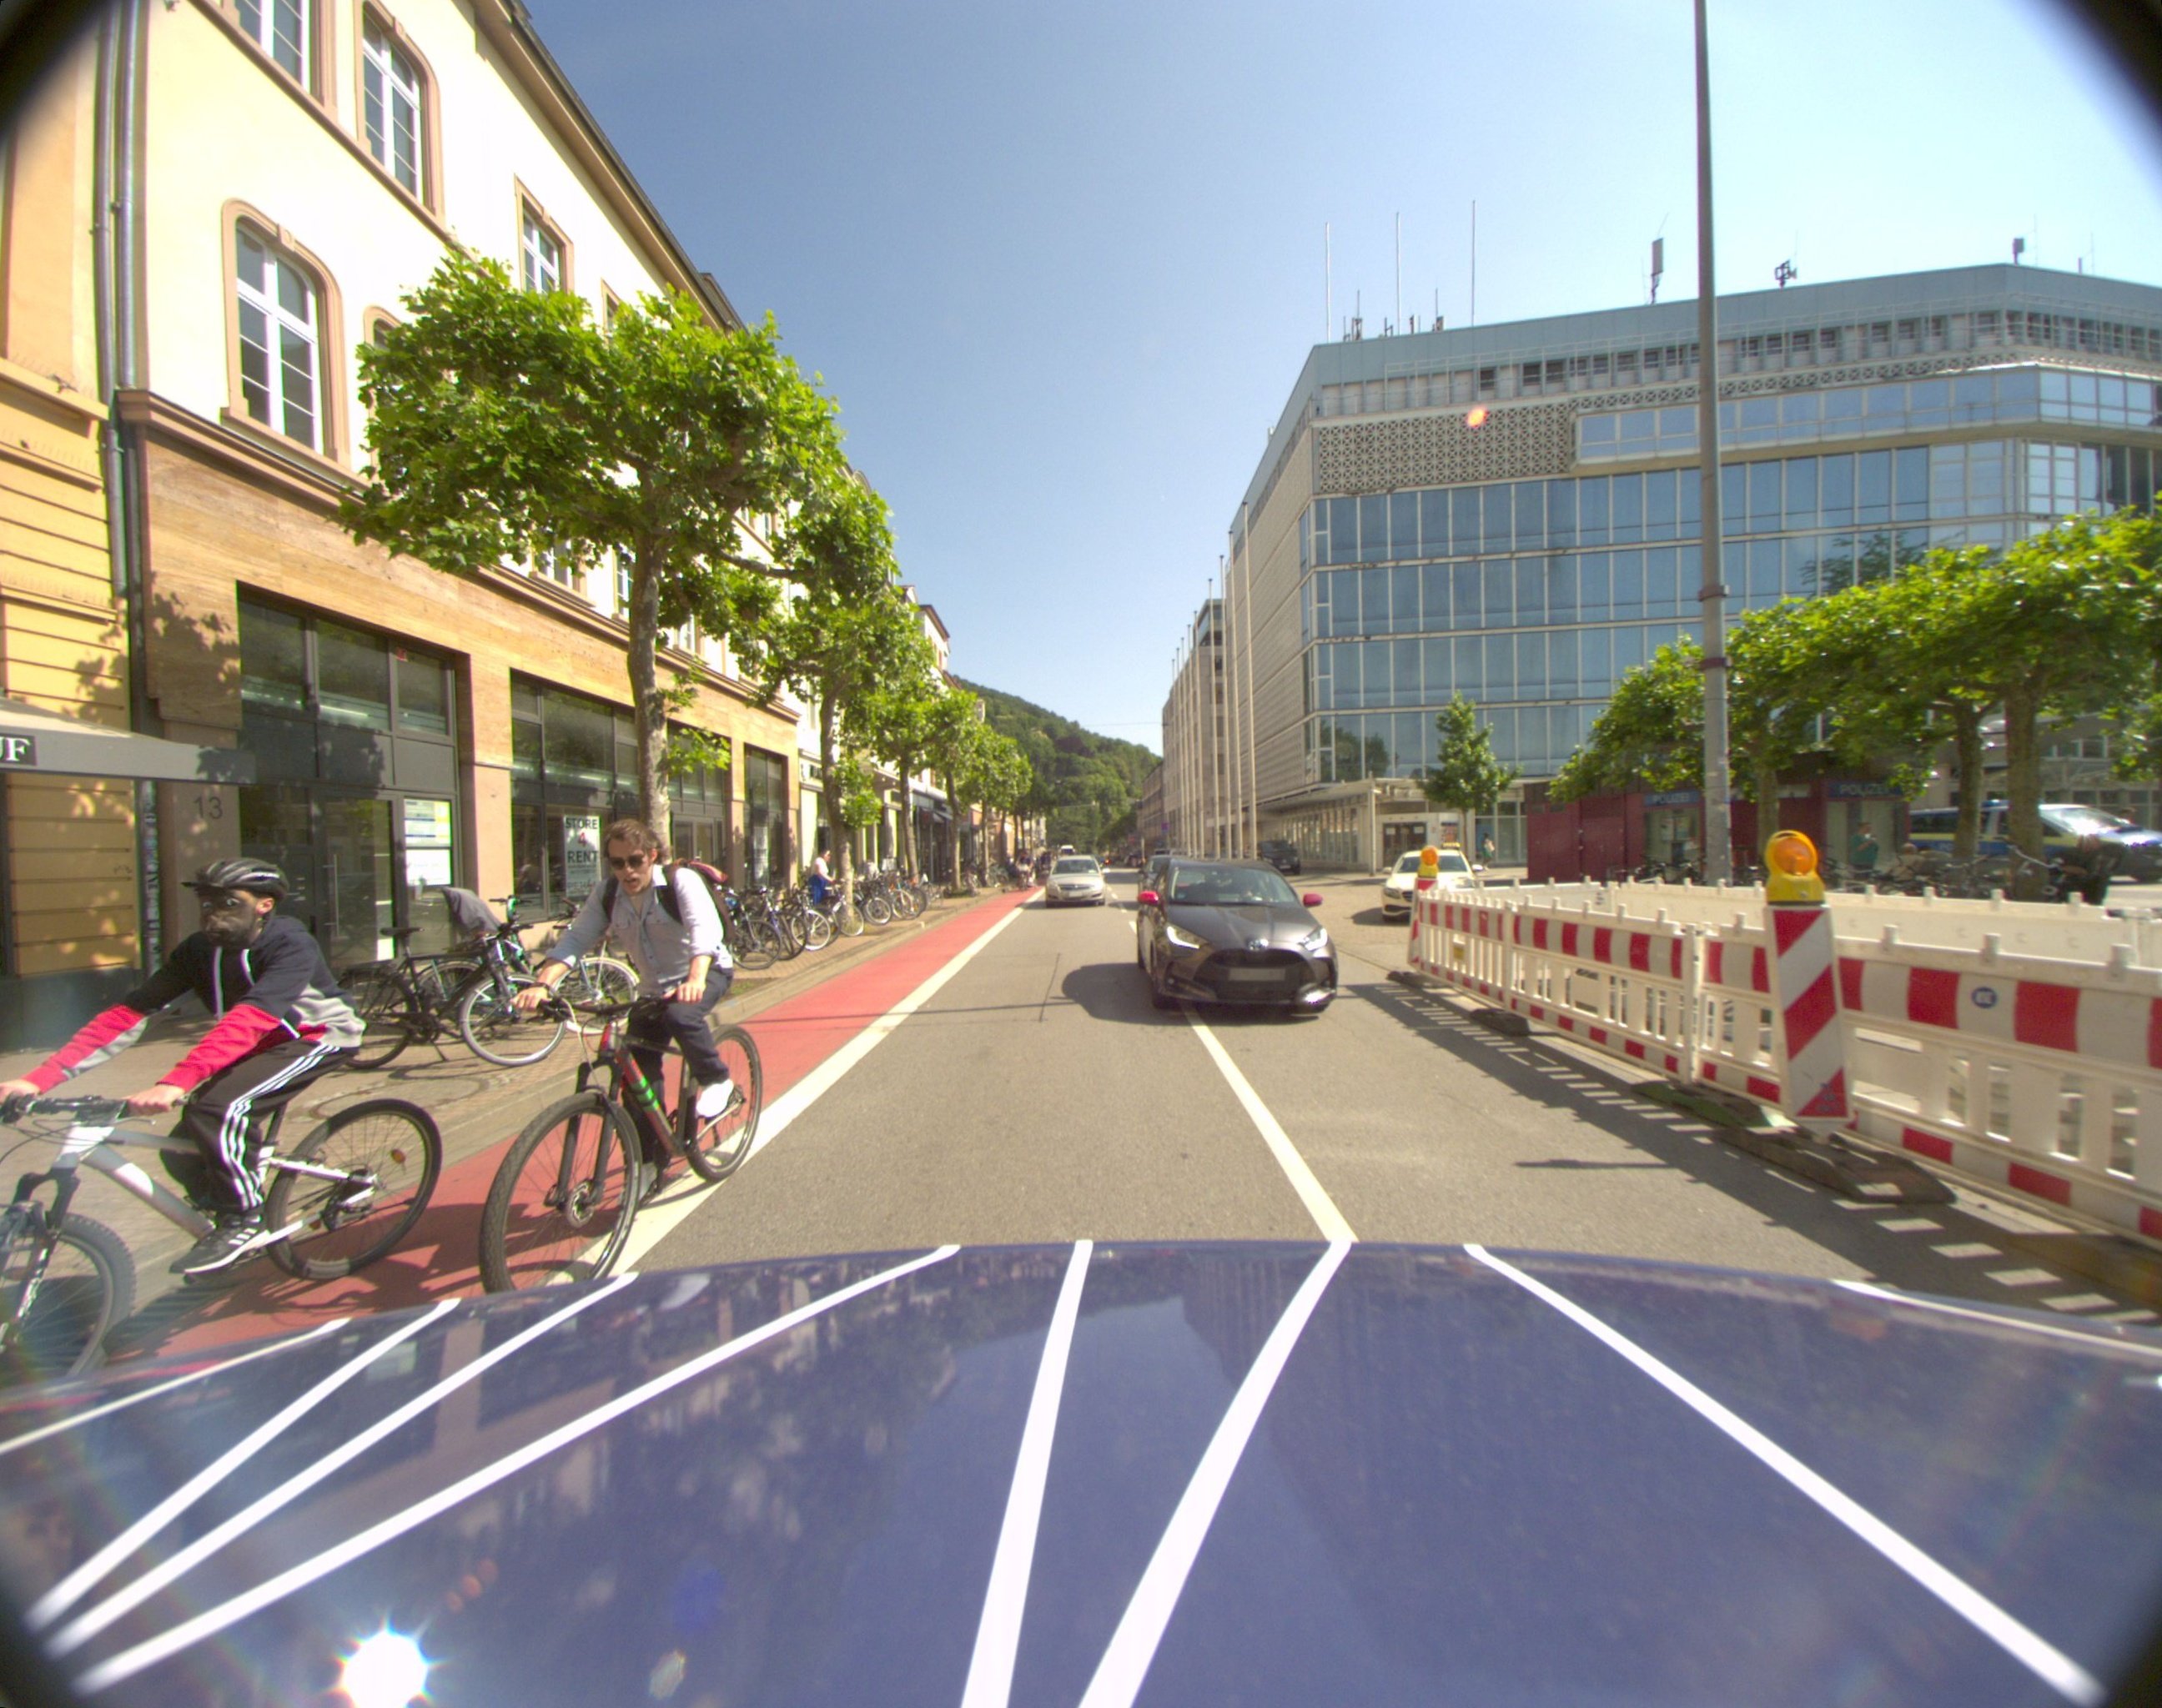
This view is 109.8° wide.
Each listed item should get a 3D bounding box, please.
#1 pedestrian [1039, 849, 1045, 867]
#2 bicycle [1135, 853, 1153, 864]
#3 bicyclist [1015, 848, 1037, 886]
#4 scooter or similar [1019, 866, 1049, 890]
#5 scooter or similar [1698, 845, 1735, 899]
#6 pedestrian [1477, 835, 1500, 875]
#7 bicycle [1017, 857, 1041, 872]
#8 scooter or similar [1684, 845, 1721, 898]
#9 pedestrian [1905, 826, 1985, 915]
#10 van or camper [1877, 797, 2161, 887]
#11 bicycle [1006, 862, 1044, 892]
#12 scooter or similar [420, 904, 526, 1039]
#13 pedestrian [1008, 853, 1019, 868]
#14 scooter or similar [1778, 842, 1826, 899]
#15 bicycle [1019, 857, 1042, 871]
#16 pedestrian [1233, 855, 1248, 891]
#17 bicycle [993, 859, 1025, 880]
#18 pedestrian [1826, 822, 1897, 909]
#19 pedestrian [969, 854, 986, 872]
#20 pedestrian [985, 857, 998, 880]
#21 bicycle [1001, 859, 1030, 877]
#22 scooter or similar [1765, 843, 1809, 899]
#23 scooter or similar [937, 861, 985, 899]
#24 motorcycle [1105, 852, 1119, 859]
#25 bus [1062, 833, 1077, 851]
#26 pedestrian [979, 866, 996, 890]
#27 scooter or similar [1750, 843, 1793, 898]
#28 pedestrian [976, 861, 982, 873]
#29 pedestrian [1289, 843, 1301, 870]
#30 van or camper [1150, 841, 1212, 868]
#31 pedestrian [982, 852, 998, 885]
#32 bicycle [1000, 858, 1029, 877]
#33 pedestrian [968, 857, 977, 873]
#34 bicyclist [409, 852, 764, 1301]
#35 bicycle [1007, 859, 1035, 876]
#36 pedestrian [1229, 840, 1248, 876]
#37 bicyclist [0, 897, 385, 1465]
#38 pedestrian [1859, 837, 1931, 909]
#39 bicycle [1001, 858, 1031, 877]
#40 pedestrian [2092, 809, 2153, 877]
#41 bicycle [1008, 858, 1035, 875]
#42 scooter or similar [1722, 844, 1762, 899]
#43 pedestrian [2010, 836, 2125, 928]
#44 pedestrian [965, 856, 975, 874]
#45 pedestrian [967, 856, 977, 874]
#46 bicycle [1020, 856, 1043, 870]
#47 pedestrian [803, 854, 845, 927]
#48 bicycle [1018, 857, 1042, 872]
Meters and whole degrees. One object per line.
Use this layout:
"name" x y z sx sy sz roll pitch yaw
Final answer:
"pedestrian" -3.724 0.381 73.248 0.453 1.784 0.608 -3 0 -2
"bicycle" 7.202 0.481 86.886 0.606 1.166 2.059 -4 2 -45
"bicyclist" -2.442 0.574 33.664 0.731 1.664 0.775 0 1 19
"scooter or similar" -2.150 1.100 34.925 0.784 1.054 1.128 -2 1 34
"scooter or similar" 14.920 0.413 17.855 0.233 1.207 1.305 -2 1 20
"pedestrian" 17.884 0.047 33.352 0.684 1.705 0.723 0 1 10
"bicycle" -4.136 0.843 60.809 1.844 1.120 0.530 -1 2 2
"scooter or similar" 14.711 0.398 18.006 0.233 1.207 1.305 -2 1 20
"pedestrian" 16.128 0.300 14.196 0.806 1.596 0.672 -2 1 -12
"van or camper" 23.231 -0.310 18.736 1.877 1.907 5.023 -2 1 -1
"bicycle" -2.459 0.991 33.626 0.733 1.261 2.286 -3 -1 22
"scooter or similar" -6.143 1.142 7.735 0.422 1.171 1.230 -2 1 -20
"pedestrian" -7.664 0.691 85.733 0.904 1.603 0.974 -1 4 -28
"scooter or similar" 16.221 0.353 17.115 0.264 1.207 1.305 -2 1 20
"bicycle" -4.227 0.811 63.362 1.844 1.120 0.643 -1 2 2
"pedestrian" 8.017 0.960 38.218 0.531 1.782 0.540 -1 1 40
"bicycle" -4.394 0.922 46.064 1.846 1.120 0.497 -4 0 -7
"pedestrian" 15.379 0.219 14.987 0.673 1.668 0.687 -2 1 -8
"pedestrian" -8.533 0.735 62.762 1.255 1.475 0.837 -2 1 -2
"pedestrian" -4.864 0.795 41.349 0.641 1.226 0.596 -2 2 -2
"bicycle" -4.407 0.949 51.019 1.846 1.087 0.564 -3 1 -10
"scooter or similar" 15.986 0.360 17.220 0.233 1.207 1.305 -2 1 20
"scooter or similar" -4.277 0.910 27.019 1.477 1.267 0.670 -3 1 12
"motorcycle" 6.323 0.314 155.938 0.980 1.342 3.094 -1 1 -43
"bus" -2.415 -2.441 157.062 2.924 3.516 12.497 -1 1 -2
"pedestrian" -5.018 1.284 40.732 0.789 1.236 0.576 -2 2 -2
"scooter or similar" 15.791 0.359 17.386 0.233 1.207 1.305 -2 1 20
"pedestrian" -7.905 1.006 58.934 0.342 0.962 0.437 -2 1 2
"pedestrian" 12.892 0.122 45.844 0.581 1.608 0.543 -1 1 -1
"van or camper" 8.336 0.079 63.461 4.648 2.002 2.004 -3 0 40
"pedestrian" -4.677 0.735 39.036 0.641 1.679 0.843 -3 0 -2
"bicycle" -4.541 0.904 51.761 1.846 1.121 0.764 -4 2 -12
"pedestrian" -8.432 0.862 59.123 0.683 1.246 0.532 0 0 -2
"bicyclist" -1.821 0.729 2.981 0.700 1.437 0.960 -3 1 -3
"bicycle" -4.184 0.913 52.730 1.844 1.087 0.564 -3 1 1
"pedestrian" 8.102 0.204 39.089 0.618 1.782 0.694 -1 1 40
"bicyclist" -2.940 0.894 2.380 0.700 1.432 0.790 -3 1 -3
"pedestrian" 15.399 0.348 14.384 0.673 1.301 0.686 -3 1 -17
"bicycle" -4.313 0.889 50.518 1.846 1.120 0.632 -4 2 -10
"pedestrian" 27.517 -0.298 20.073 0.803 1.739 0.606 -3 1 -5
"bicycle" -4.197 0.862 54.084 1.849 1.120 0.592 -2 2 -35
"scooter or similar" 15.358 0.383 17.663 0.233 1.207 1.305 -2 1 20
"pedestrian" 15.512 0.422 11.976 0.672 1.373 0.897 -2 1 9
"pedestrian" -8.494 0.853 57.982 0.683 1.325 0.532 -2 1 -2
"pedestrian" -8.409 0.839 58.578 0.683 1.330 0.532 -1 1 -2
"bicycle" -4.213 0.784 65.072 1.844 1.120 0.666 -1 2 2
"pedestrian" -5.840 0.816 17.312 0.616 1.603 0.745 -2 1 2
"bicycle" -4.137 0.835 61.503 1.844 1.120 0.666 -1 2 2
